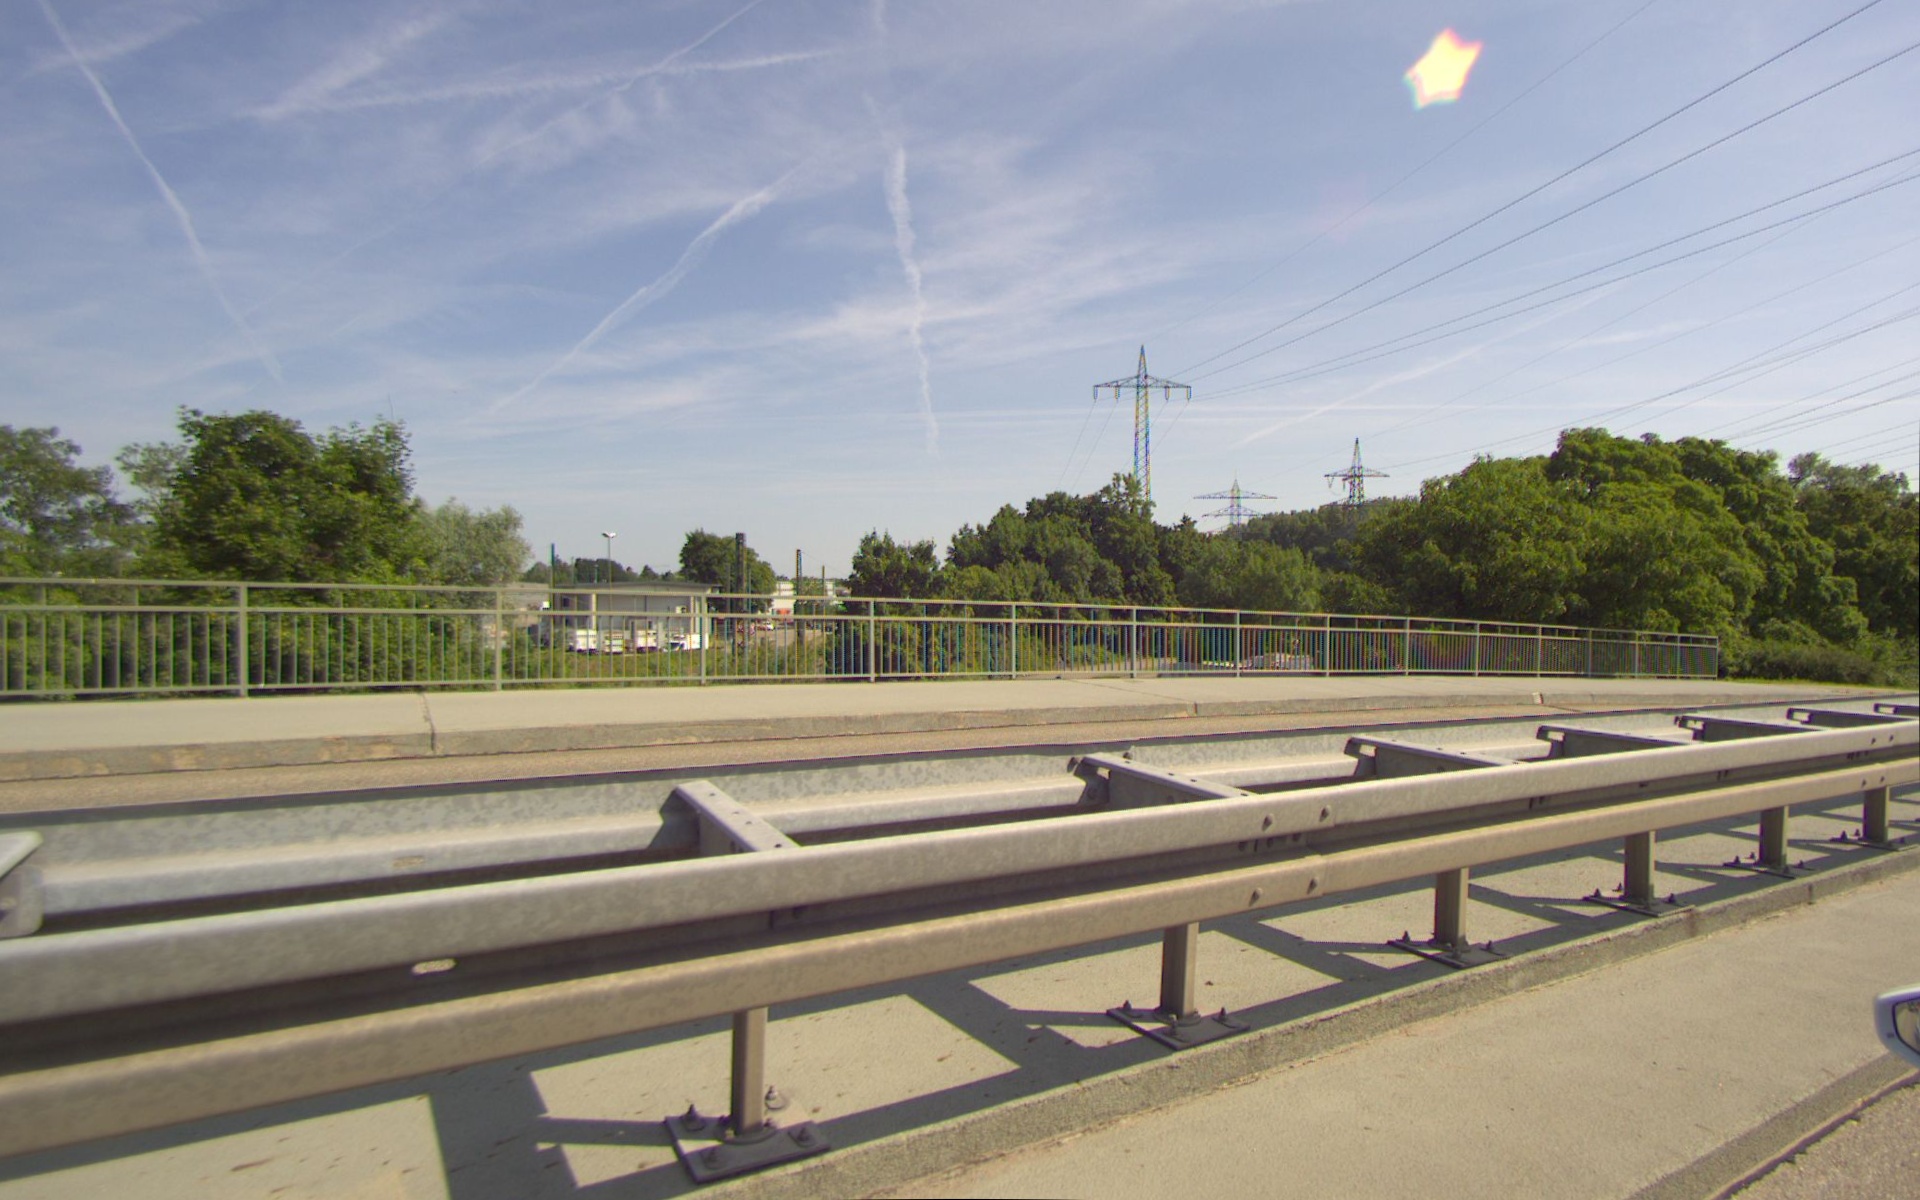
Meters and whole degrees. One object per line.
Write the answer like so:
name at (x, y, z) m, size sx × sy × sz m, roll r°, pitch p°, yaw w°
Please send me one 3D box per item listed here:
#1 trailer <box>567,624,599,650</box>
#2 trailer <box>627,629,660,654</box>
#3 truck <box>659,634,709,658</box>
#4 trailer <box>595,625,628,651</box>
trailer at (-44.607, 4.298, 118.781) m, size 2.585 × 2.848 × 6.725 m, roll 0°, pitch 0°, yaw -29°
trailer at (-39.103, 5.050, 124.079) m, size 2.585 × 2.848 × 6.725 m, roll 0°, pitch 0°, yaw -29°
truck at (-30.995, 5.091, 112.888) m, size 2.255 × 2.432 × 5.600 m, roll 0°, pitch 0°, yaw 27°
trailer at (-42.056, 4.571, 121.173) m, size 2.585 × 2.848 × 6.725 m, roll 0°, pitch 0°, yaw -29°
